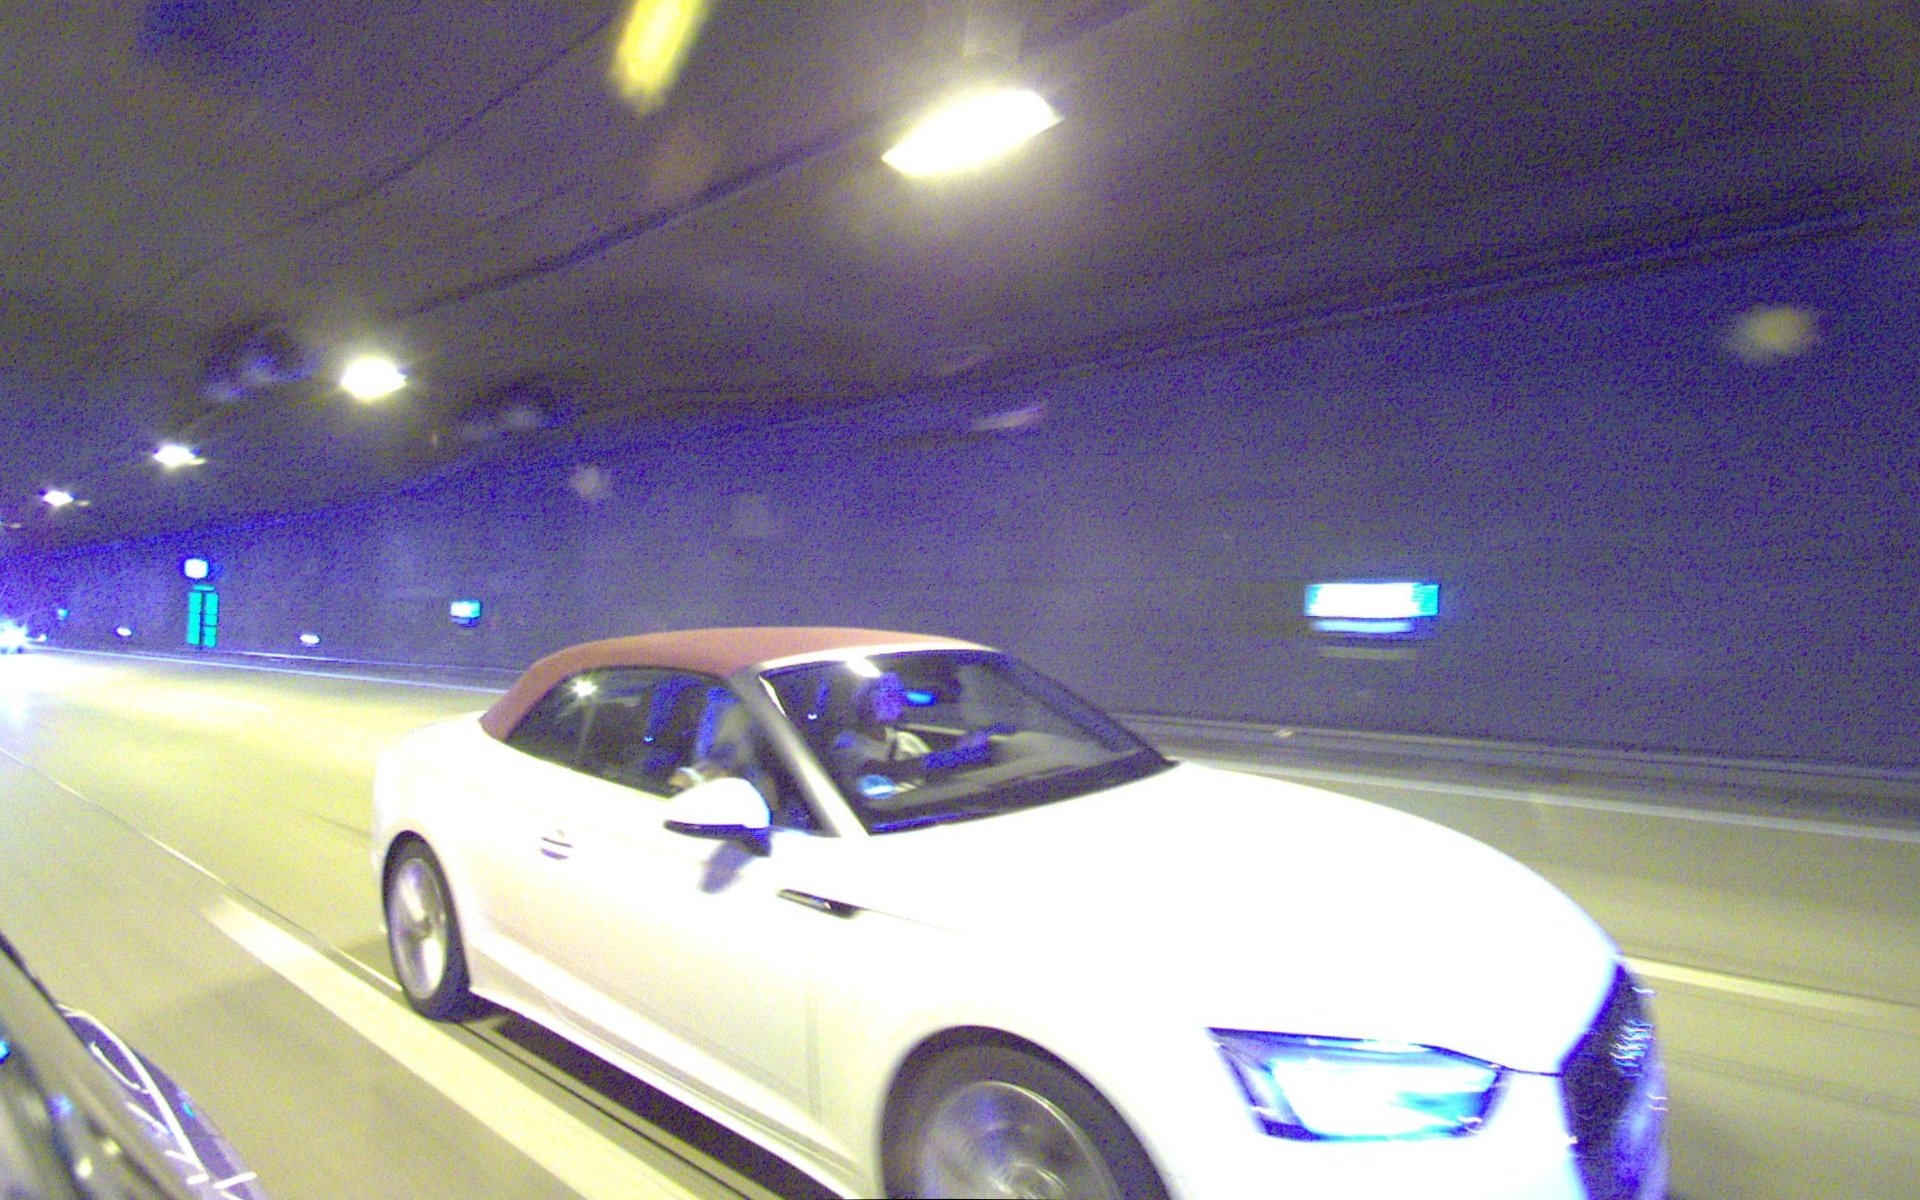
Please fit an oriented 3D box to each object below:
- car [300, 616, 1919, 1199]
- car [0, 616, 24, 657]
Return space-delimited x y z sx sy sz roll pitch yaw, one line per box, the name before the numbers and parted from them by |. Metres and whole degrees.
car | -0.355 0.795 3.307 5.057 1.429 1.684 0 -1 41
car | -36.617 1.364 37.909 3.995 1.466 1.717 -1 -1 39
